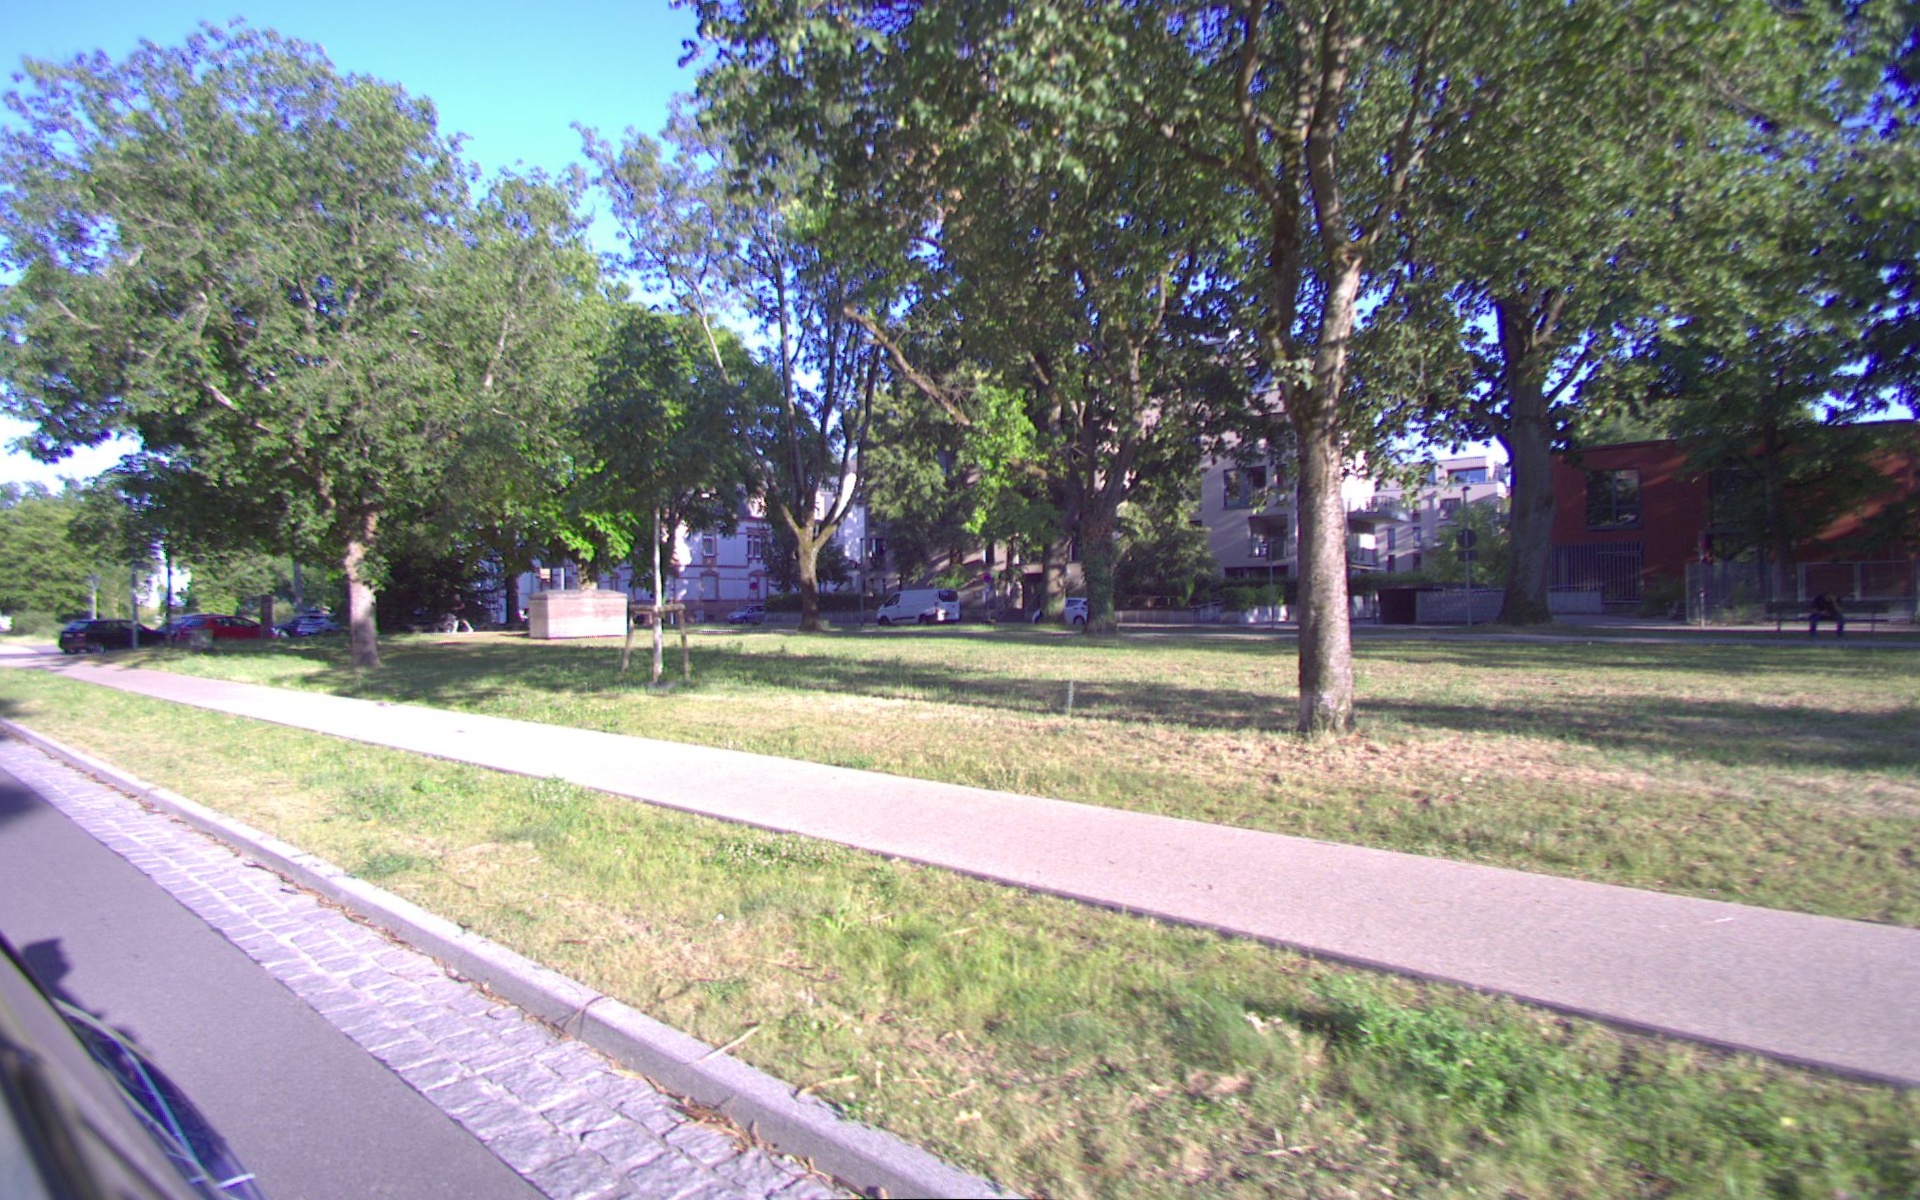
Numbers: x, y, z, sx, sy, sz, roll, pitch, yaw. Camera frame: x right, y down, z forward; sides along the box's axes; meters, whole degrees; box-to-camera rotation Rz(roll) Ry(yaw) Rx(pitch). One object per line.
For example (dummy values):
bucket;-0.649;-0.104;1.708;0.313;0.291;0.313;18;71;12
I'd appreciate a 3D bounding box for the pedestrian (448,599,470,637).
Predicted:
pedestrian;-22.593;0.818;45.649;0.671;1.708;0.655;-2;0;38

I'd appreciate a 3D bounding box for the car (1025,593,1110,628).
car;5.291;0.546;50.161;3.736;1.630;1.973;-2;0;41

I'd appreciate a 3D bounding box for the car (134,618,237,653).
car;-38.863;1.754;50.890;1.824;1.643;3.825;-1;0;17

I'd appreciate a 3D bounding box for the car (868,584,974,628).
car;-2.044;0.337;52.187;4.967;2.130;2.641;-2;0;42

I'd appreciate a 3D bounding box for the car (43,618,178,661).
car;-35.540;1.597;42.464;1.874;1.586;3.979;0;1;16

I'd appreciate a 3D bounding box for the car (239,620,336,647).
car;-37.128;1.827;56.003;1.825;1.411;4.250;-1;0;19

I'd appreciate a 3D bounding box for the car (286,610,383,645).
car;-32.131;1.381;52.105;1.877;1.586;3.973;0;1;20

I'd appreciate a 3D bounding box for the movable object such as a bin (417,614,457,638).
movable object such as a bin;-23.185;1.147;44.860;0.948;0.997;1.317;-1;-1;37

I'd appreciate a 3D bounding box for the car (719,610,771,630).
car;-18.072;1.641;85.037;1.890;1.586;3.946;1;1;41

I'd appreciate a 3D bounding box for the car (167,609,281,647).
car;-34.060;1.246;46.958;1.874;1.586;3.979;0;1;16

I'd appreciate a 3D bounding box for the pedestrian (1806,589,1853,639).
pedestrian;17.708;0.281;20.611;0.541;0.994;0.611;0;-1;-38
